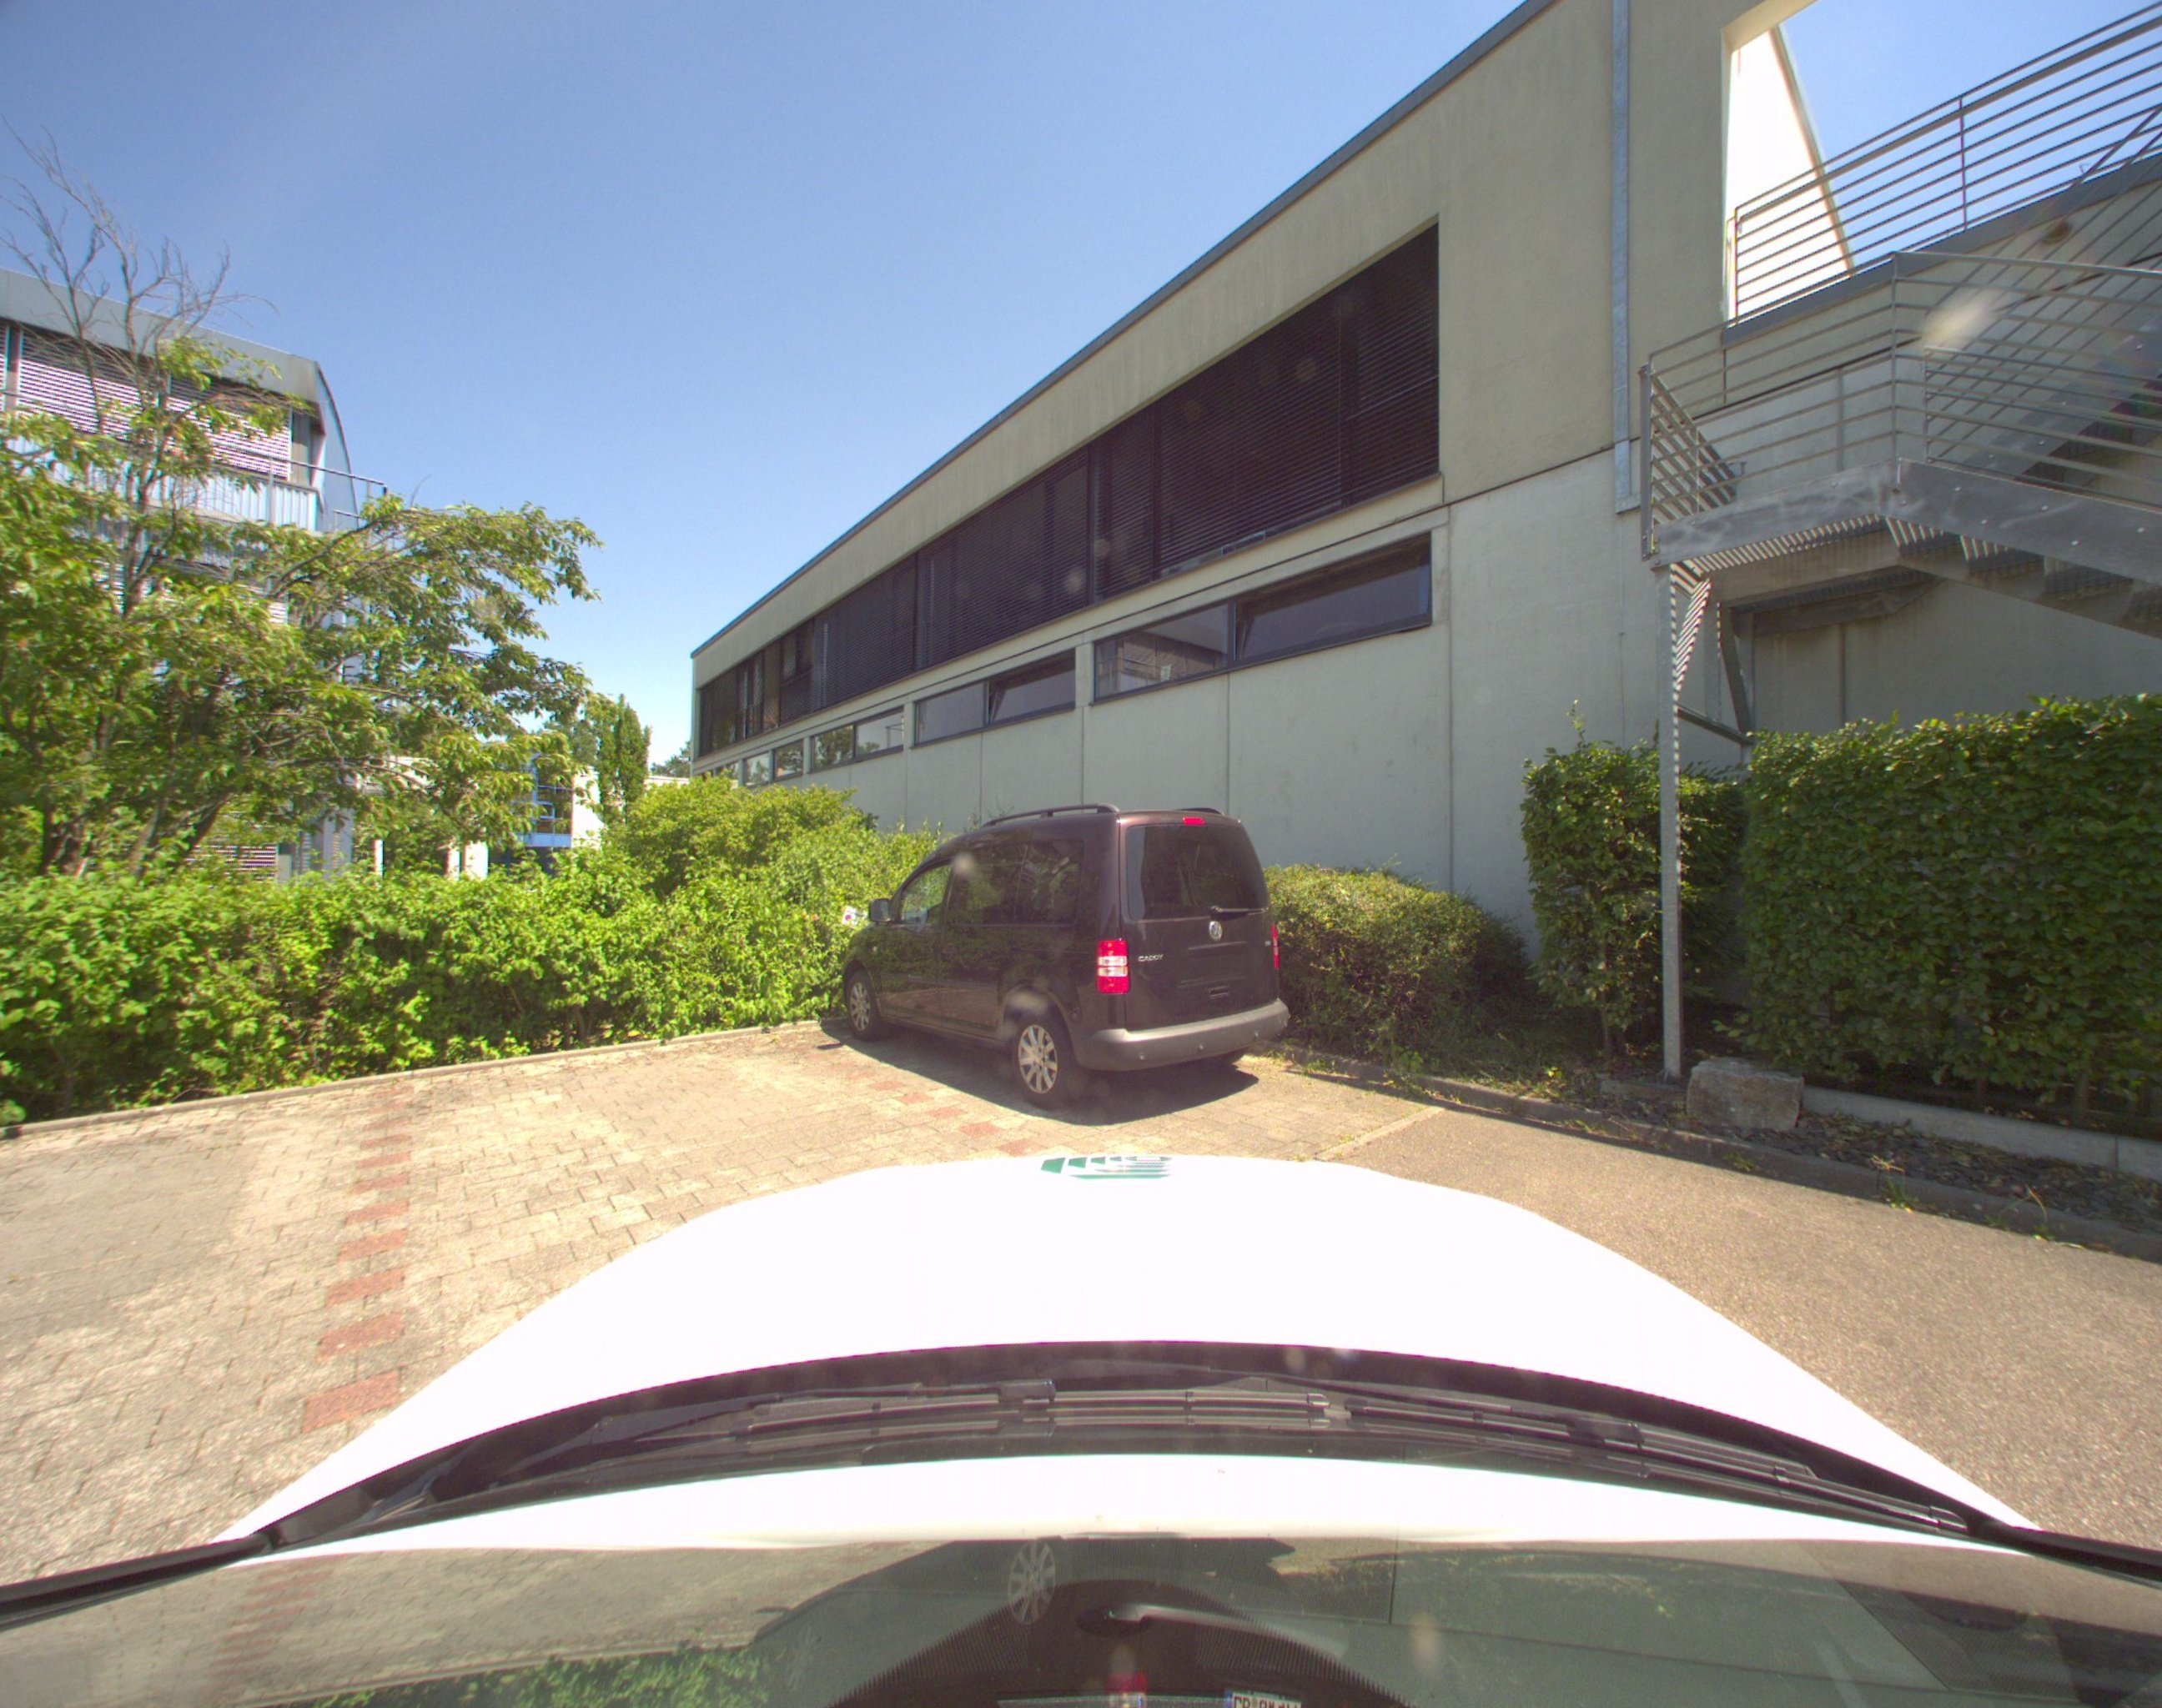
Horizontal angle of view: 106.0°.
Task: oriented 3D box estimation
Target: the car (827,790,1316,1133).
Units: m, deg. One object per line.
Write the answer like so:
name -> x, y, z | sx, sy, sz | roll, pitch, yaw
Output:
car -> -0.364, 0.609, 6.460 | 1.758, 1.837, 3.953 | 0, -1, -40
